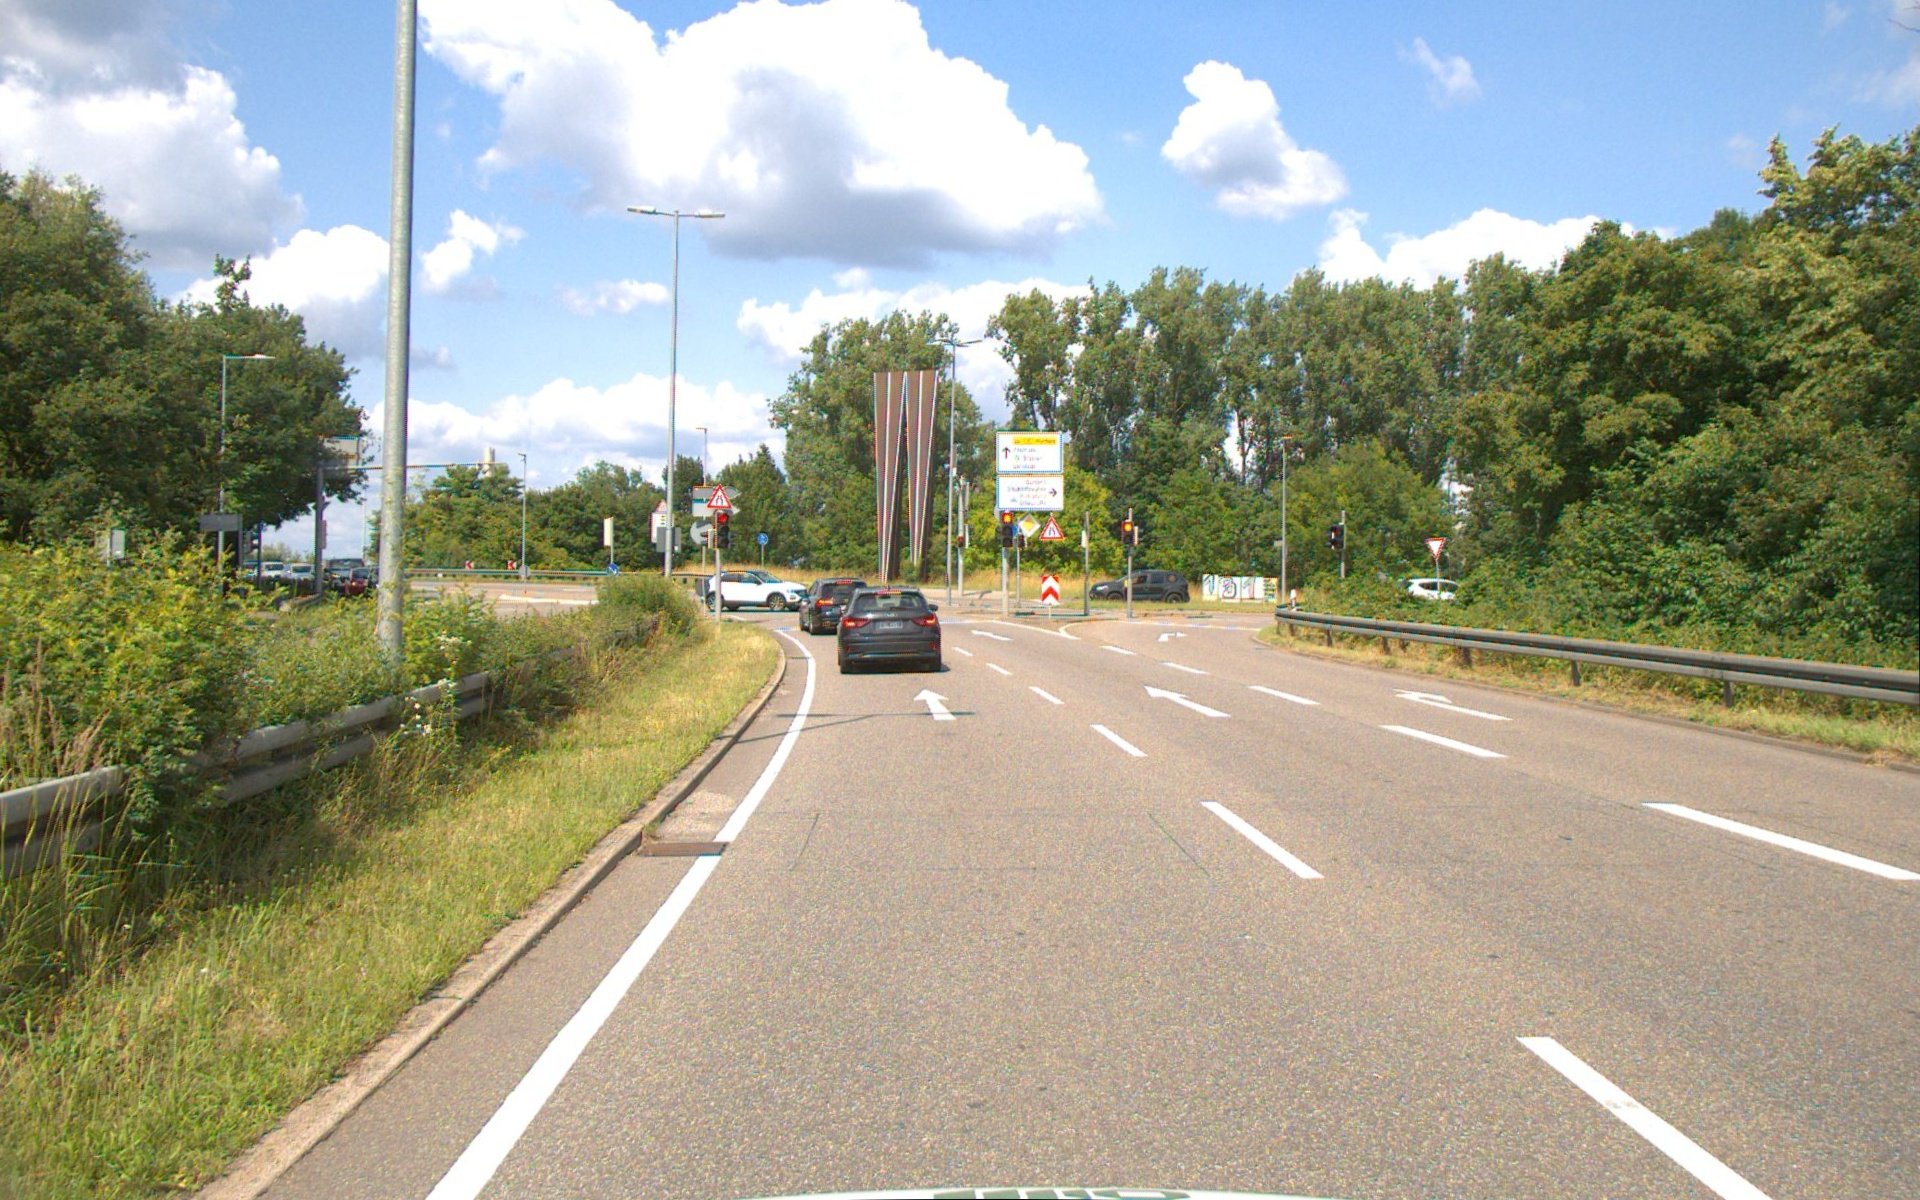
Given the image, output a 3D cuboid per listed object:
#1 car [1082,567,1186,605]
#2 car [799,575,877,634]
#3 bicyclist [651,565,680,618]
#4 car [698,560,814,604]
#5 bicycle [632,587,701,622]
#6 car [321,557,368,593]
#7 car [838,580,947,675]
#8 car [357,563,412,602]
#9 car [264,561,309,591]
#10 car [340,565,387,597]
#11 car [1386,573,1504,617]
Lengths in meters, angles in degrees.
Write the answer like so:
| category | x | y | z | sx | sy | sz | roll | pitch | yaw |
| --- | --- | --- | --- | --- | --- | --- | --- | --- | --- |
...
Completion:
| category | x | y | z | sx | sy | sz | roll | pitch | yaw |
| --- | --- | --- | --- | --- | --- | --- | --- | --- | --- |
| car | 7.432 | -0.608 | 70.878 | 4.187 | 1.572 | 1.734 | 0 | 1 | -7 |
| car | -3.344 | 0.095 | 44.848 | 1.695 | 1.448 | 3.836 | -2 | 1 | -10 |
| bicyclist | -8.887 | -0.256 | 49.851 | 0.820 | 1.587 | 0.670 | 0 | 0 | -14 |
| car | -7.709 | -0.679 | 62.676 | 3.948 | 1.502 | 1.738 | 2 | 0 | 15 |
| bicycle | -8.841 | 0.131 | 49.862 | 2.018 | 1.041 | 0.670 | 0 | 0 | -14 |
| car | -32.105 | -1.295 | 86.214 | 1.821 | 1.833 | 4.289 | 0 | 1 | -27 |
| car | -1.237 | 0.419 | 28.681 | 1.692 | 1.428 | 3.997 | -2 | 1 | -5 |
| car | -25.433 | -0.761 | 73.026 | 1.817 | 1.646 | 3.966 | -1 | 0 | -26 |
| car | -40.490 | -1.451 | 99.398 | 1.825 | 1.735 | 4.280 | -1 | 1 | -32 |
| car | -28.950 | -0.939 | 80.220 | 1.711 | 1.502 | 4.012 | 0 | 1 | -27 |
| car | 18.915 | -0.195 | 64.584 | 3.955 | 1.535 | 1.950 | 2 | -1 | -13 |
